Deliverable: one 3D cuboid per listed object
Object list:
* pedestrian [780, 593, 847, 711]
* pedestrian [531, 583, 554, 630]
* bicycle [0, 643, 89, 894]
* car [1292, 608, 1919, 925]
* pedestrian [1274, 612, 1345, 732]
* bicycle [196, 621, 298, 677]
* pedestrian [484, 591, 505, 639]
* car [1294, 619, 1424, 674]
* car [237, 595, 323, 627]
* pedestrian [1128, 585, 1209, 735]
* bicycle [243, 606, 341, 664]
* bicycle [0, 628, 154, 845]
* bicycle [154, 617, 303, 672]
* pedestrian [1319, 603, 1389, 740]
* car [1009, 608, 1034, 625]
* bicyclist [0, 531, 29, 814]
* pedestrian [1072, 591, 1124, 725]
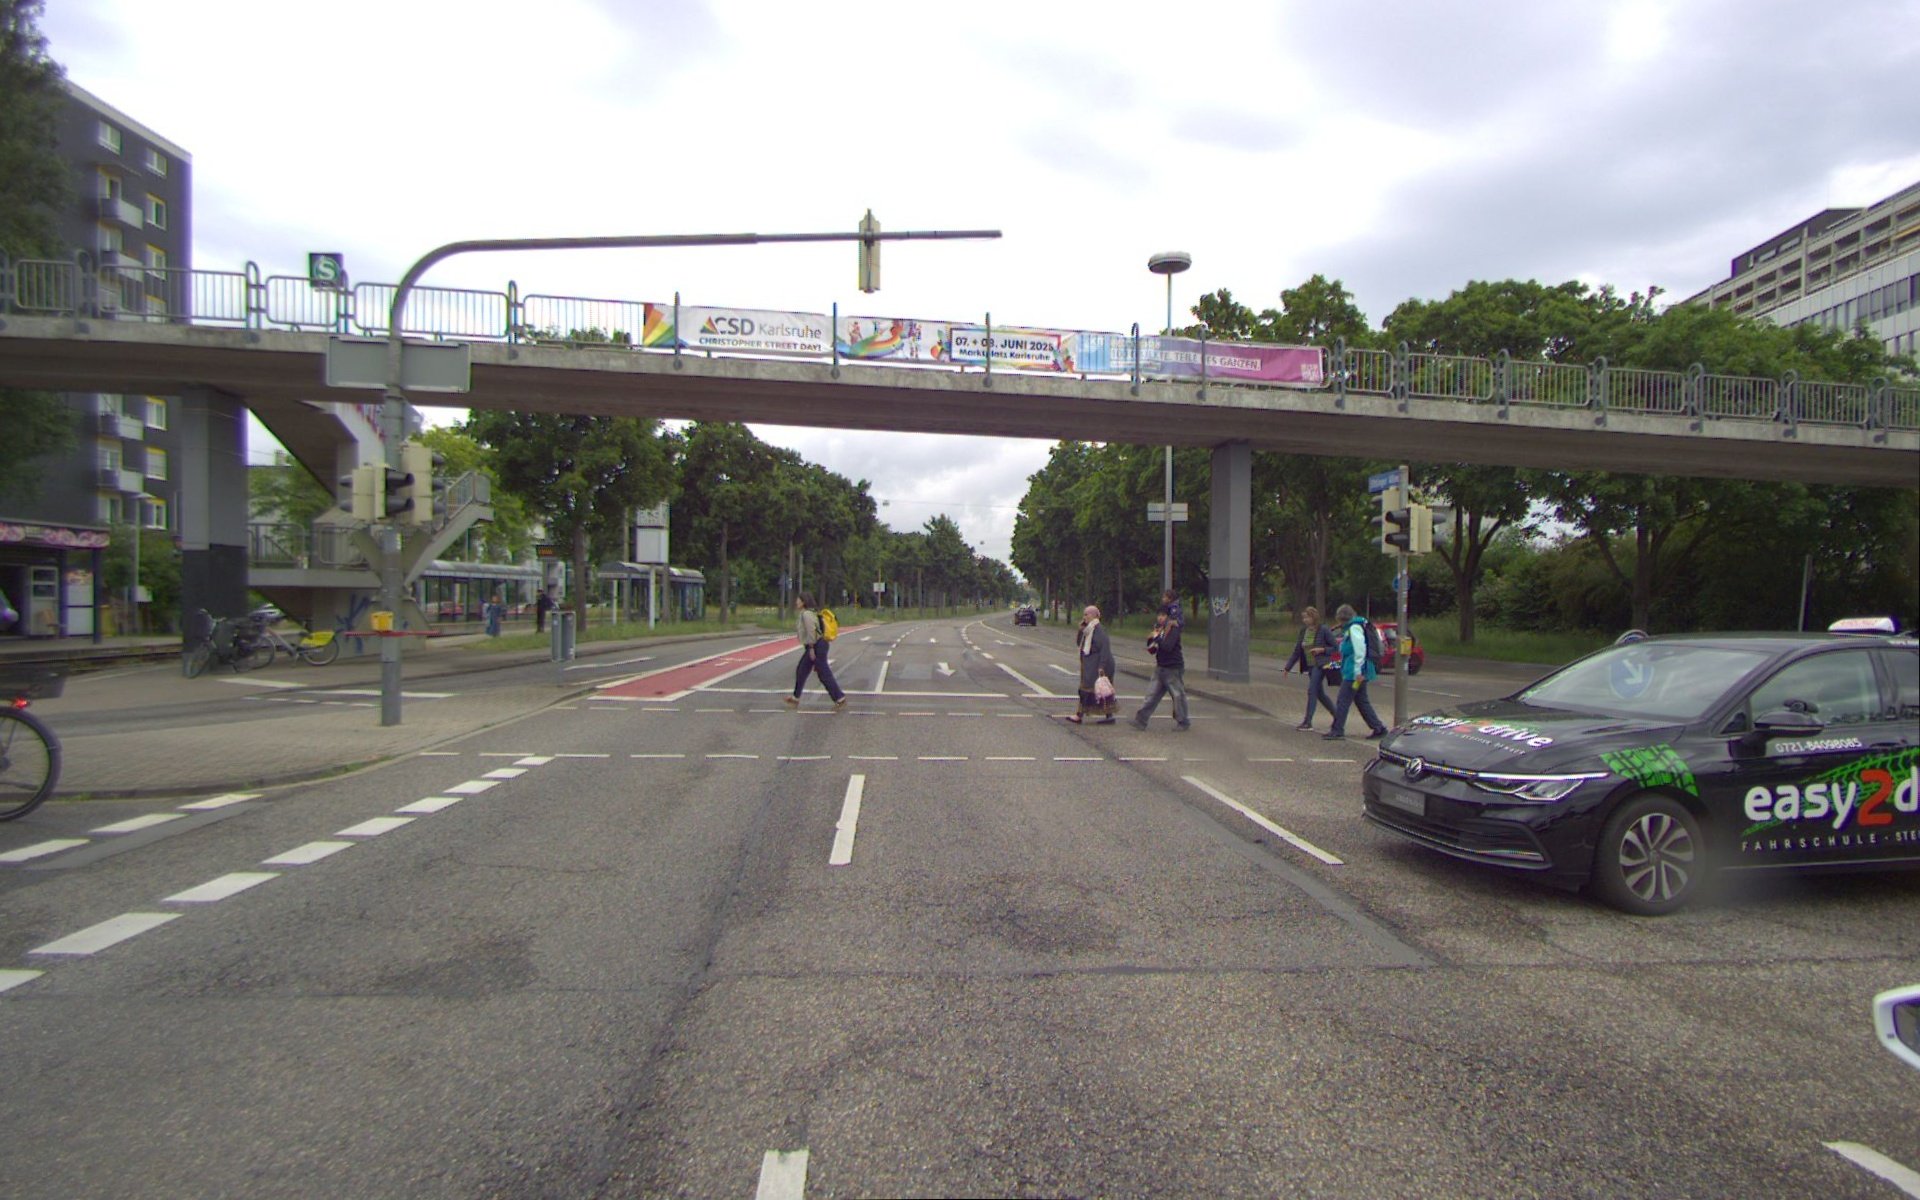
[{"bbox_3d":[-2.067,0.712,14.125,0.772,1.600,0.576,1,0,-28],"label":"pedestrian"},{"bbox_3d":[-15.206,0.240,36.577,0.590,1.664,0.663,1,0,-5],"label":"pedestrian"},{"bbox_3d":[-5.498,0.769,4.586,2.223,1.116,0.728,1,0,-10],"label":"bicycle"},{"bbox_3d":[4.431,0.828,6.025,4.310,1.497,1.773,1,0,-10],"label":"car"},{"bbox_3d":[4.645,0.934,13.398,0.398,1.531,0.916,0,0,-20],"label":"pedestrian"},{"bbox_3d":[-13.142,0.873,18.587,0.366,0.934,2.038,1,0,2],"label":"bicycle"},{"bbox_3d":[-15.348,0.495,33.107,0.550,1.585,0.334,1,0,-9],"label":"pedestrian"},{"bbox_3d":[11.435,1.312,29.001,1.494,1.409,3.515,1,0,-21],"label":"car"},{"bbox_3d":[-35.046,0.568,51.903,1.635,1.581,4.000,1,0,1],"label":"car"},{"bbox_3d":[2.636,0.738,12.730,0.789,1.828,0.636,0,0,-19],"label":"pedestrian"},{"bbox_3d":[-13.276,0.684,19.997,1.600,1.109,0.347,1,0,-36],"label":"bicycle"},{"bbox_3d":[-6.314,0.822,6.193,2.073,1.284,0.543,1,0,-10],"label":"bicycle"},{"bbox_3d":[-13.313,0.782,18.393,0.546,0.900,2.408,1,0,14],"label":"bicycle"},{"bbox_3d":[4.823,0.856,12.324,0.480,1.626,0.687,1,0,-14],"label":"pedestrian"},{"bbox_3d":[5.547,1.478,91.210,1.641,1.528,4.393,0,0,-6],"label":"car"},{"bbox_3d":[-6.371,0.456,6.218,0.635,1.792,0.645,1,1,-8],"label":"bicyclist"},{"bbox_3d":[1.812,0.742,13.237,0.399,1.714,0.617,0,0,-23],"label":"pedestrian"}]
